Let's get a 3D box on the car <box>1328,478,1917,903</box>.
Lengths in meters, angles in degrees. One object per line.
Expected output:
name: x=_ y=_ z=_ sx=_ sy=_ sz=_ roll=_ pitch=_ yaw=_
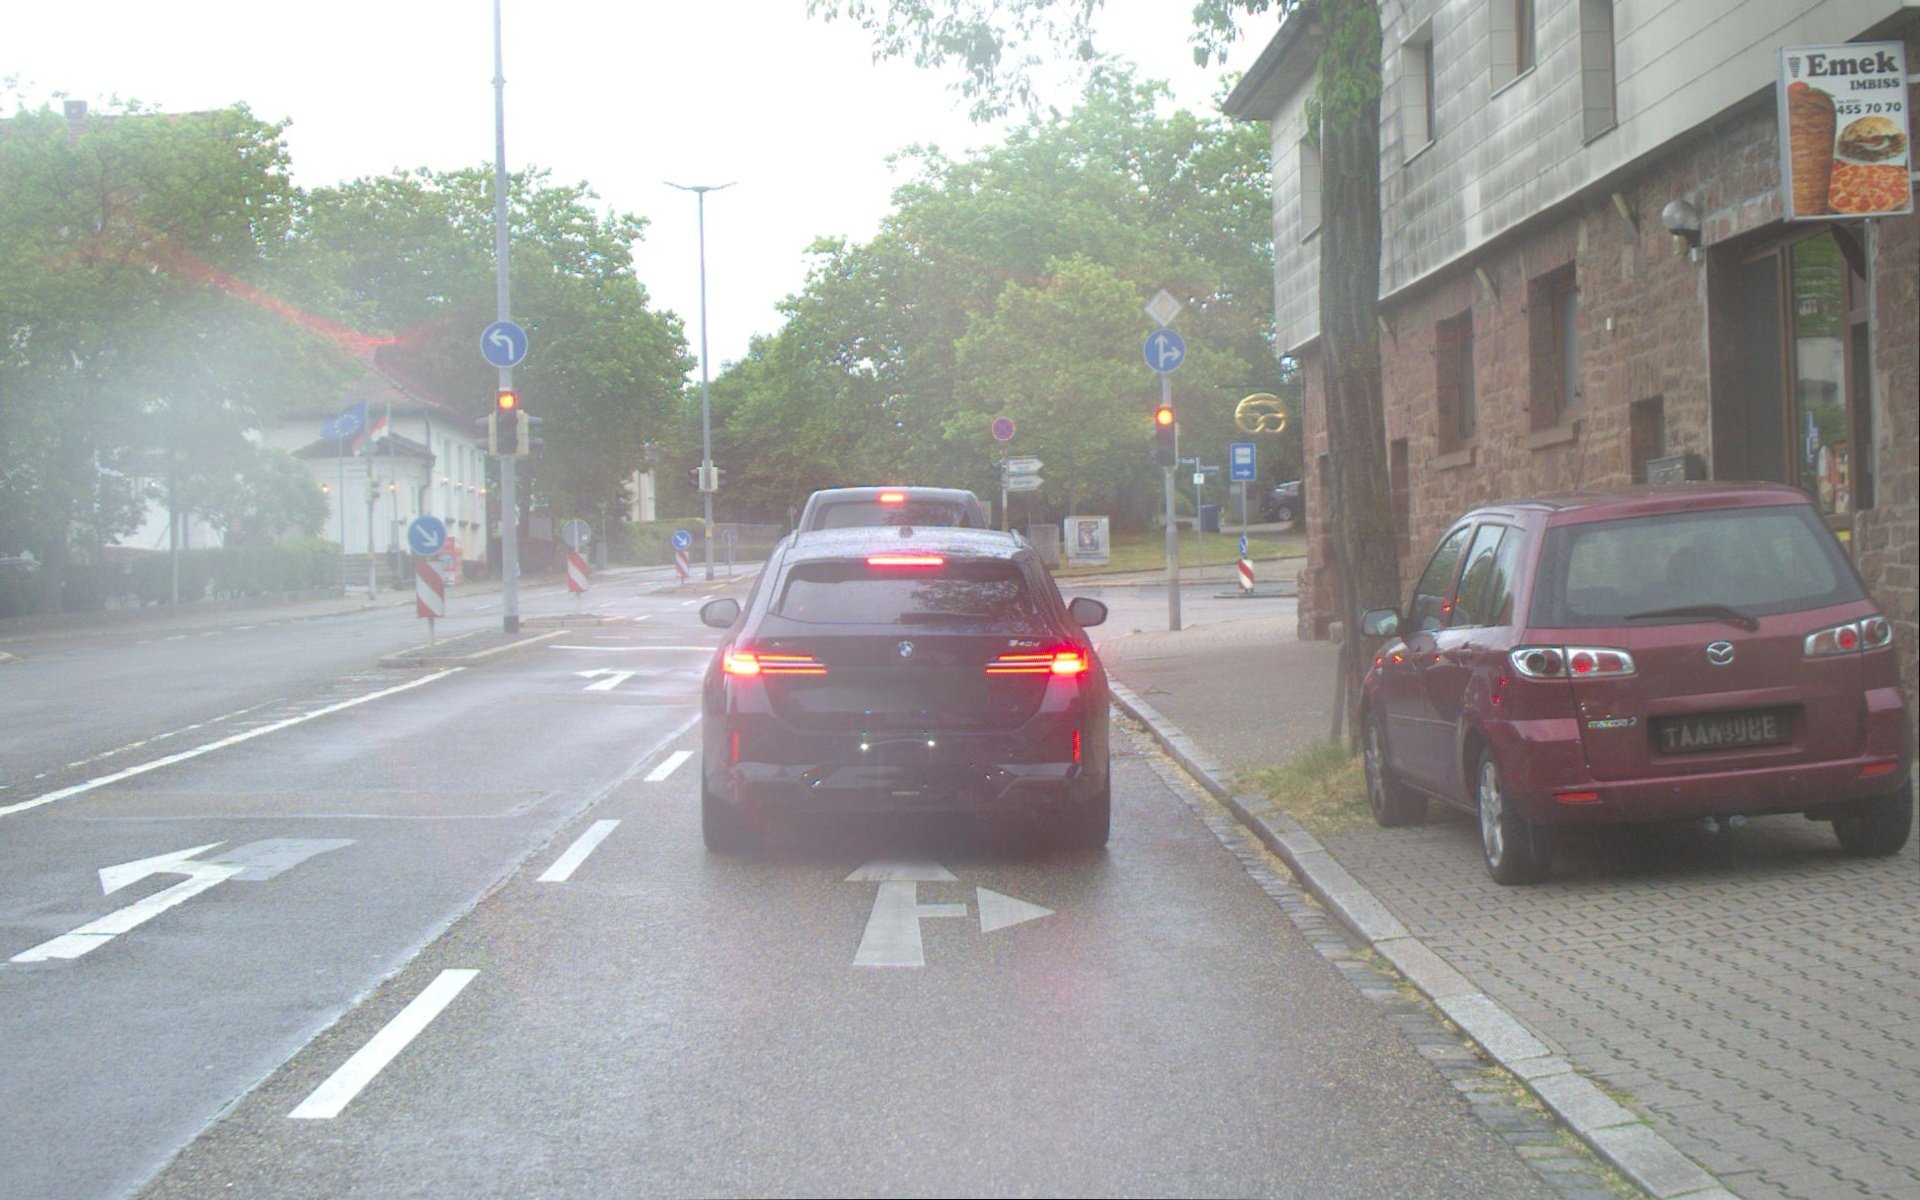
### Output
car: x=2.687 y=0.286 z=14.722 sx=1.584 sy=1.485 sz=3.628 roll=-4 pitch=2 yaw=-2

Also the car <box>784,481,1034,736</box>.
car: x=-0.447 y=0.013 z=26.823 sx=1.783 sy=1.811 sz=4.001 roll=-1 pitch=1 yaw=-2

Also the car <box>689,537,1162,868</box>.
car: x=-0.250 y=0.409 z=17.264 sx=2.064 sy=1.441 sz=4.484 roll=0 pitch=1 yaw=-3

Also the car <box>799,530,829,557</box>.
car: x=-7.617 y=-2.941 z=179.062 sx=1.464 sy=1.393 sz=3.322 roll=-1 pitch=1 yaw=-1
